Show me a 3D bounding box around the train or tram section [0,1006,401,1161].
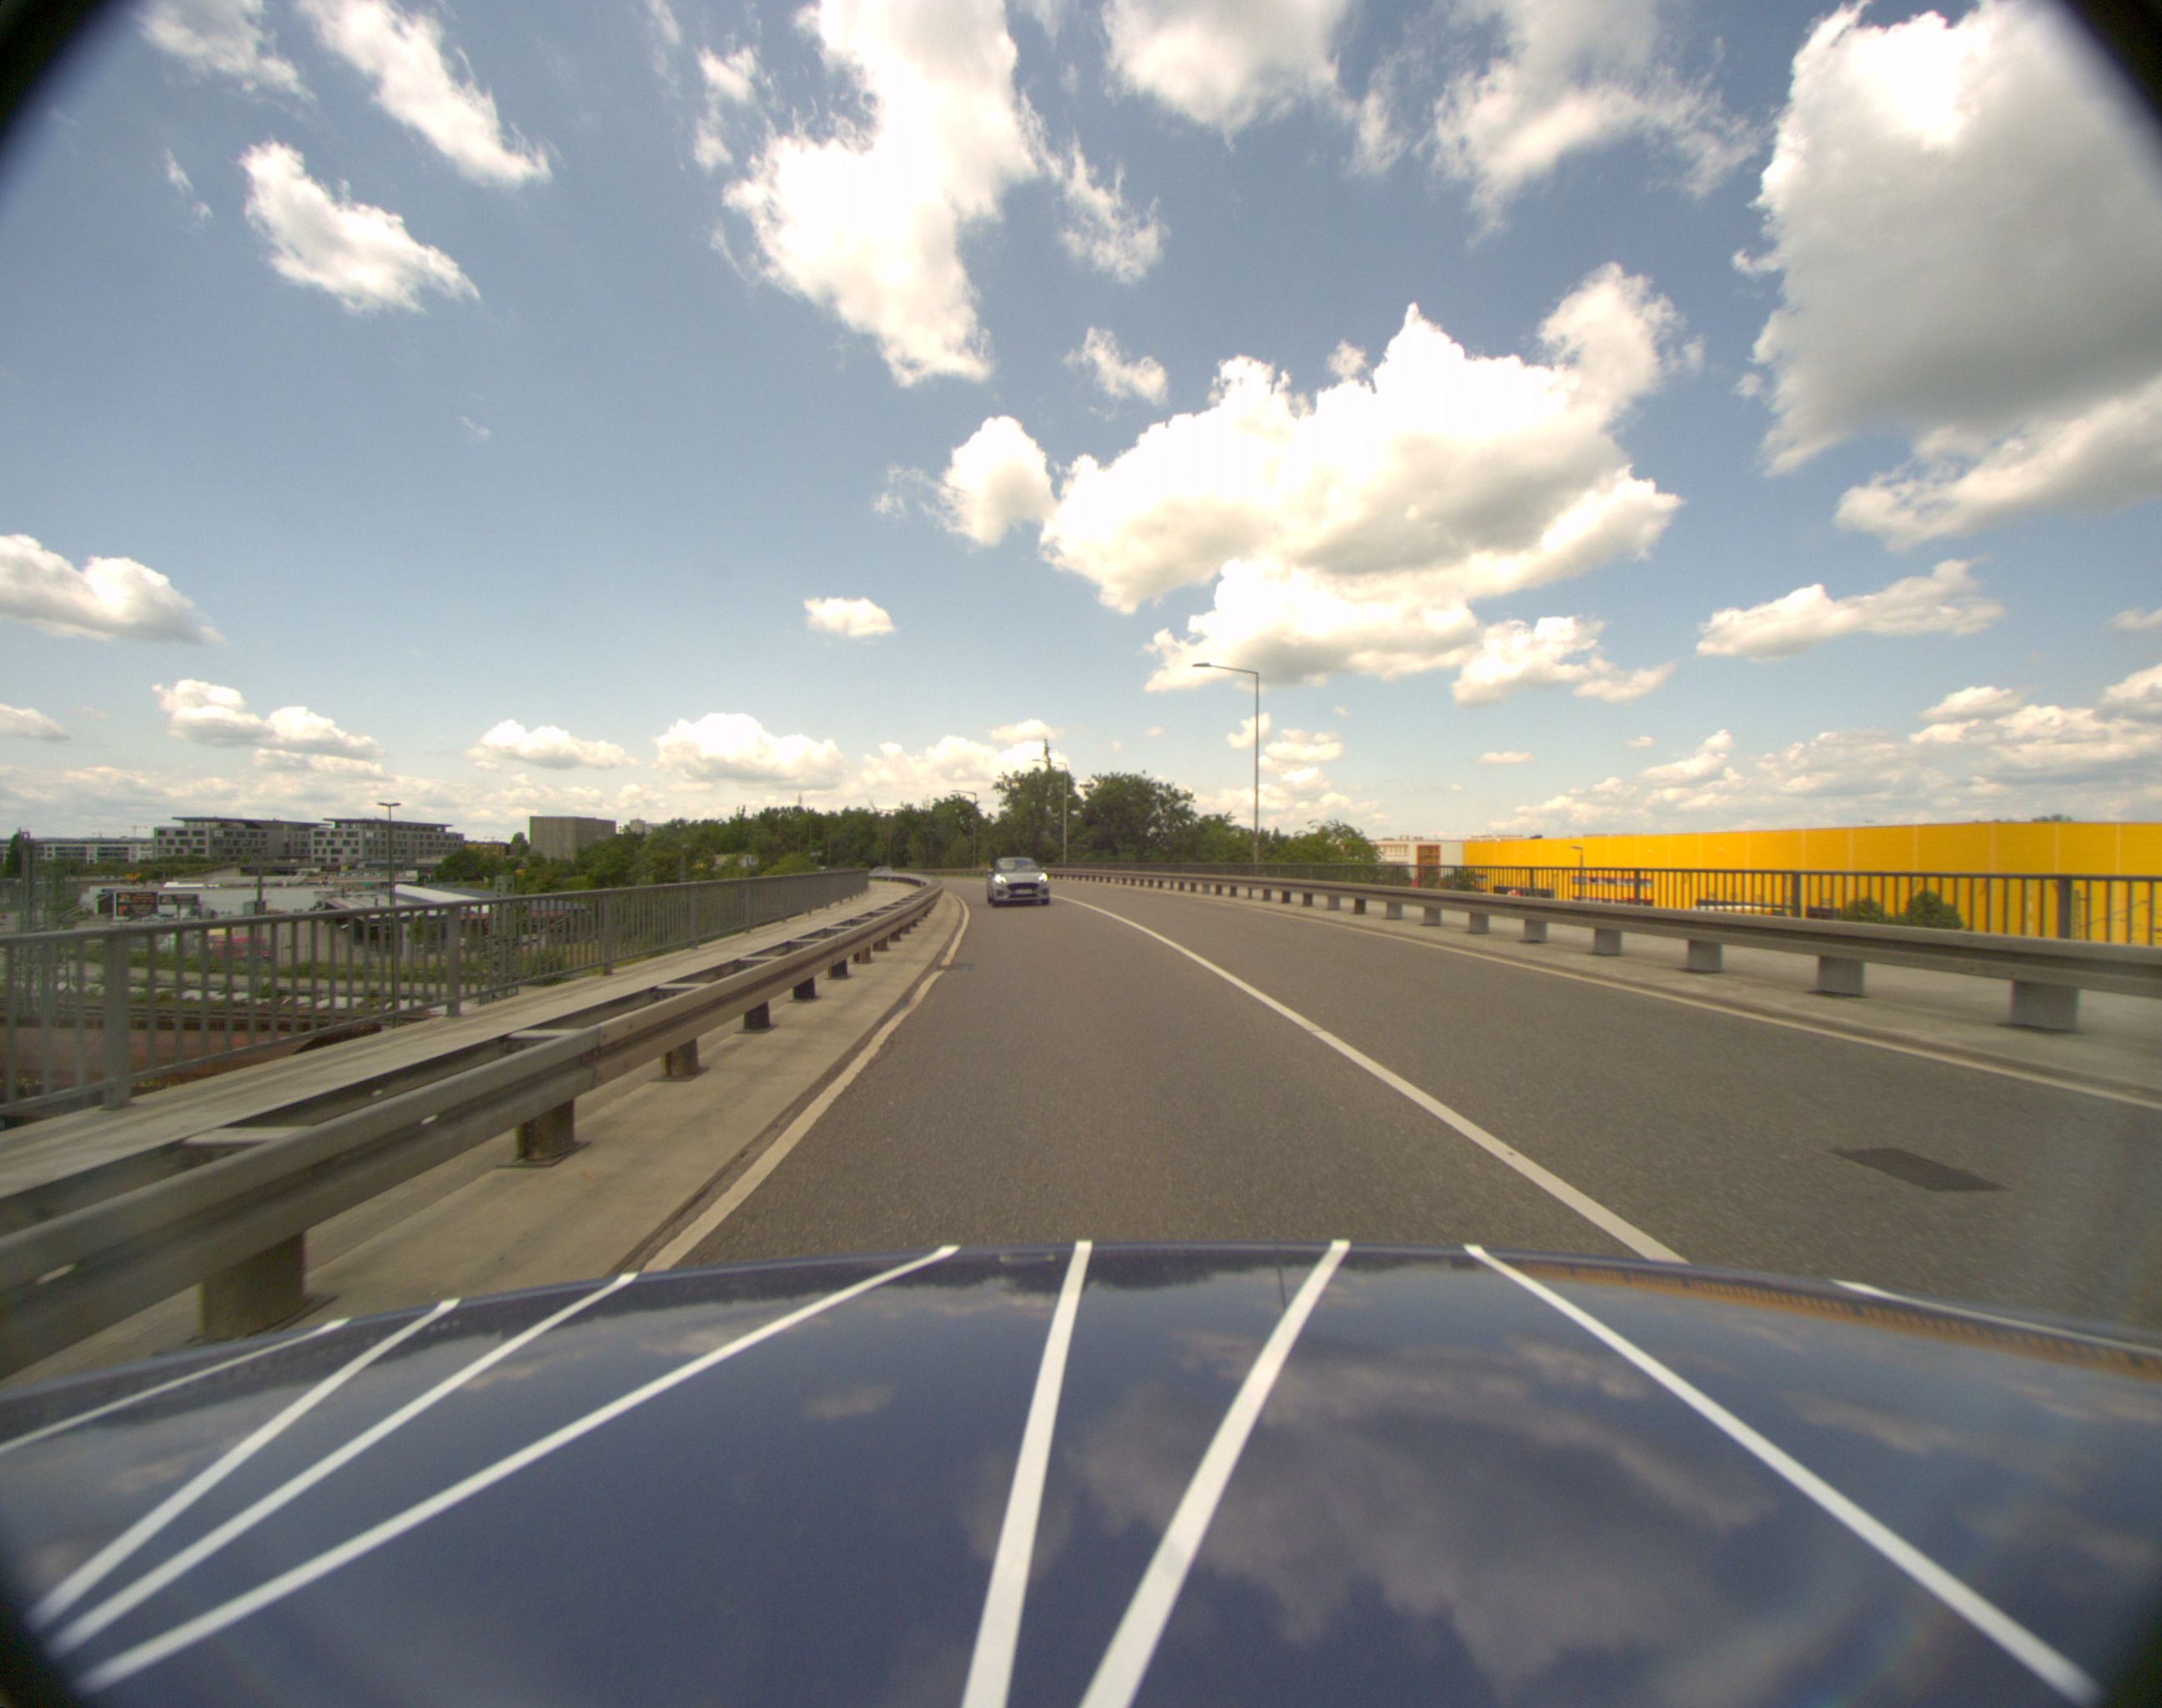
[{"bbox_3d":[-33.396,7.903,26.796,16.590,4.131,3.140,0,4,4],"label":"train or tram section"}]

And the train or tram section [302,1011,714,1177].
[{"bbox_3d":[-19.055,7.888,25.651,12.051,4.131,3.129,0,4,6],"label":"train or tram section"}]

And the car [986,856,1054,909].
[{"bbox_3d":[-2.106,0.894,25.133,1.829,1.516,3.997,-3,0,-10],"label":"car"}]

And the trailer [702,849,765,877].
[{"bbox_3d":[-55.824,1.508,121.660,14.192,4.255,2.720,-2,1,38],"label":"trailer"}]
